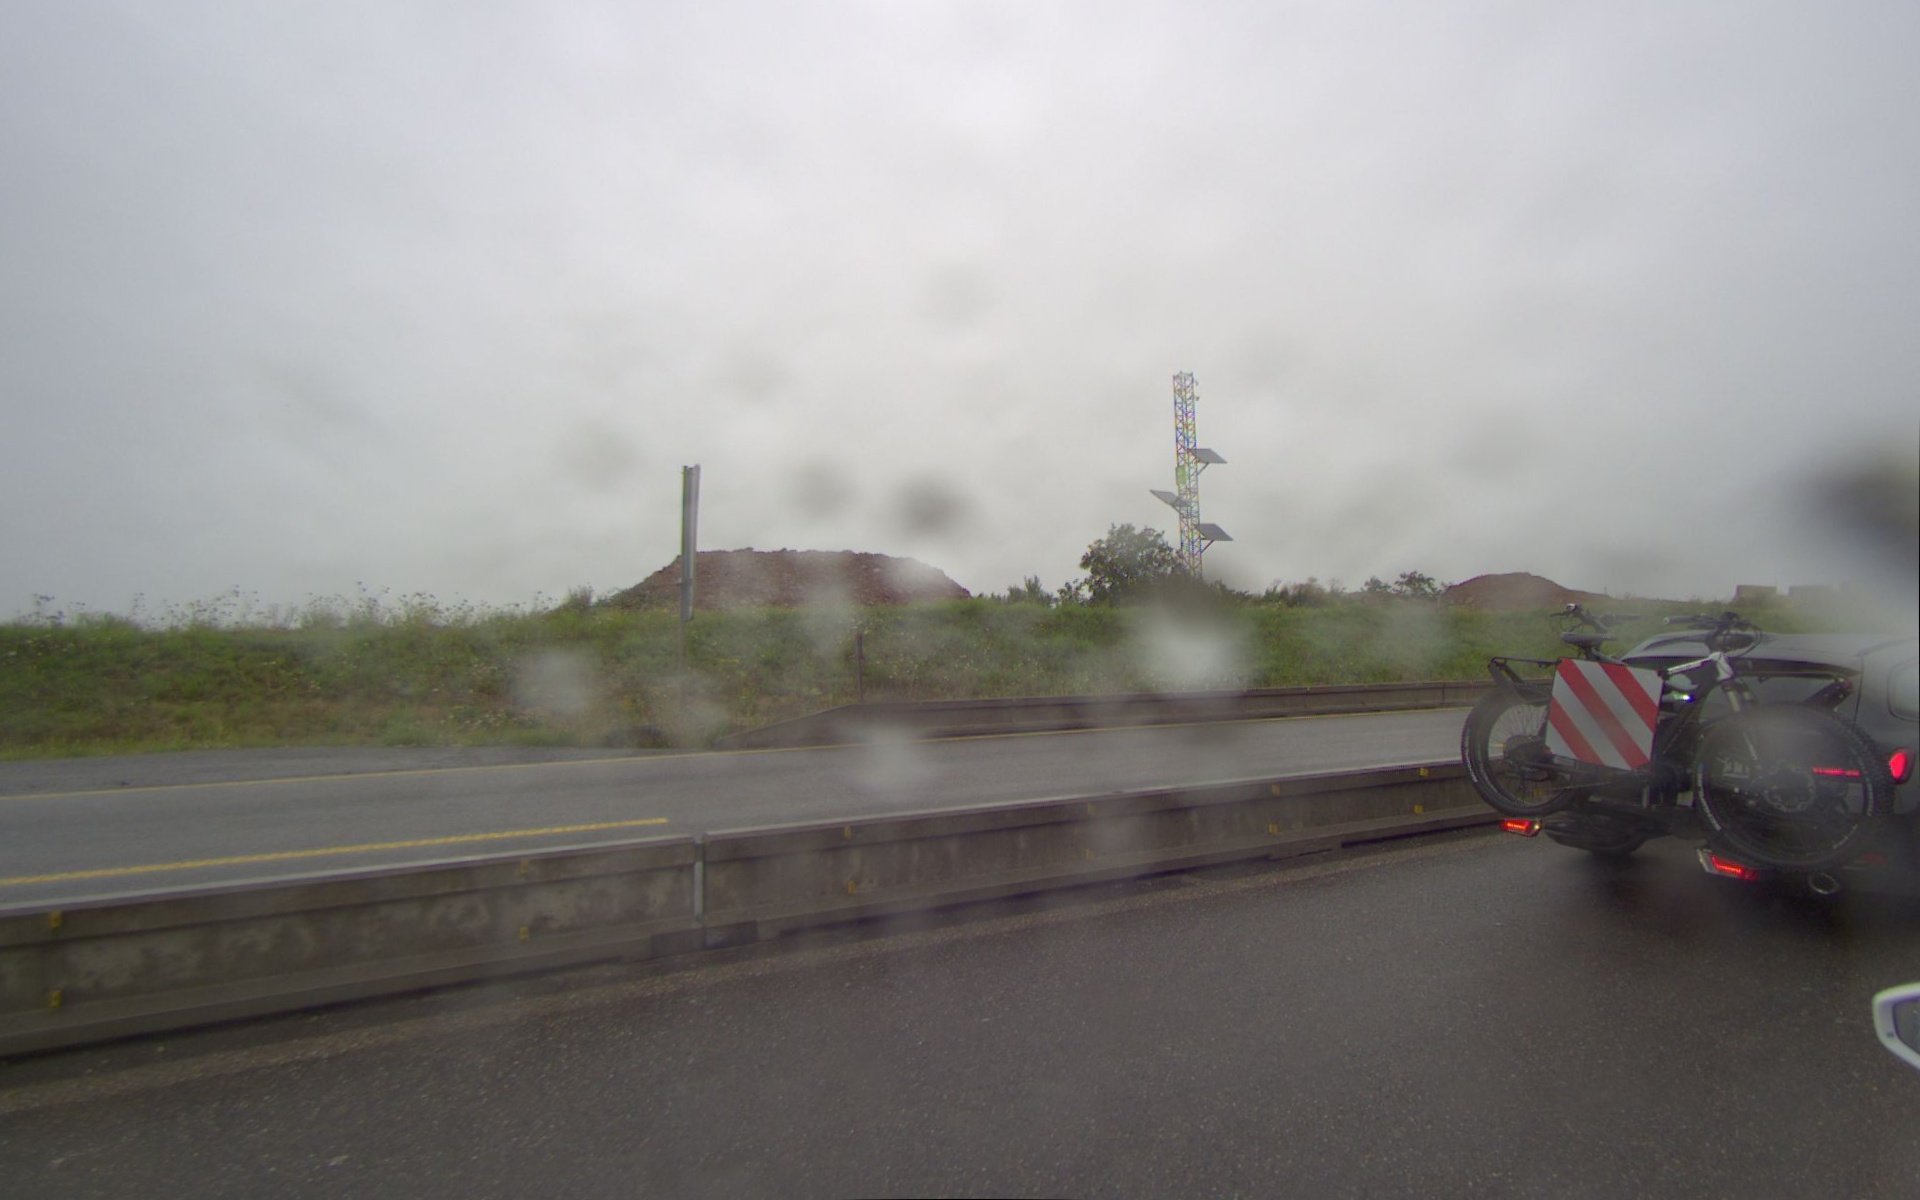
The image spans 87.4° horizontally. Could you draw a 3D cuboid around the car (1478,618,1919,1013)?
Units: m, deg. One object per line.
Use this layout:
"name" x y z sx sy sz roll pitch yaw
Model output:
"car" 5.676 0.905 6.204 5.563 1.482 1.726 0 0 -31
